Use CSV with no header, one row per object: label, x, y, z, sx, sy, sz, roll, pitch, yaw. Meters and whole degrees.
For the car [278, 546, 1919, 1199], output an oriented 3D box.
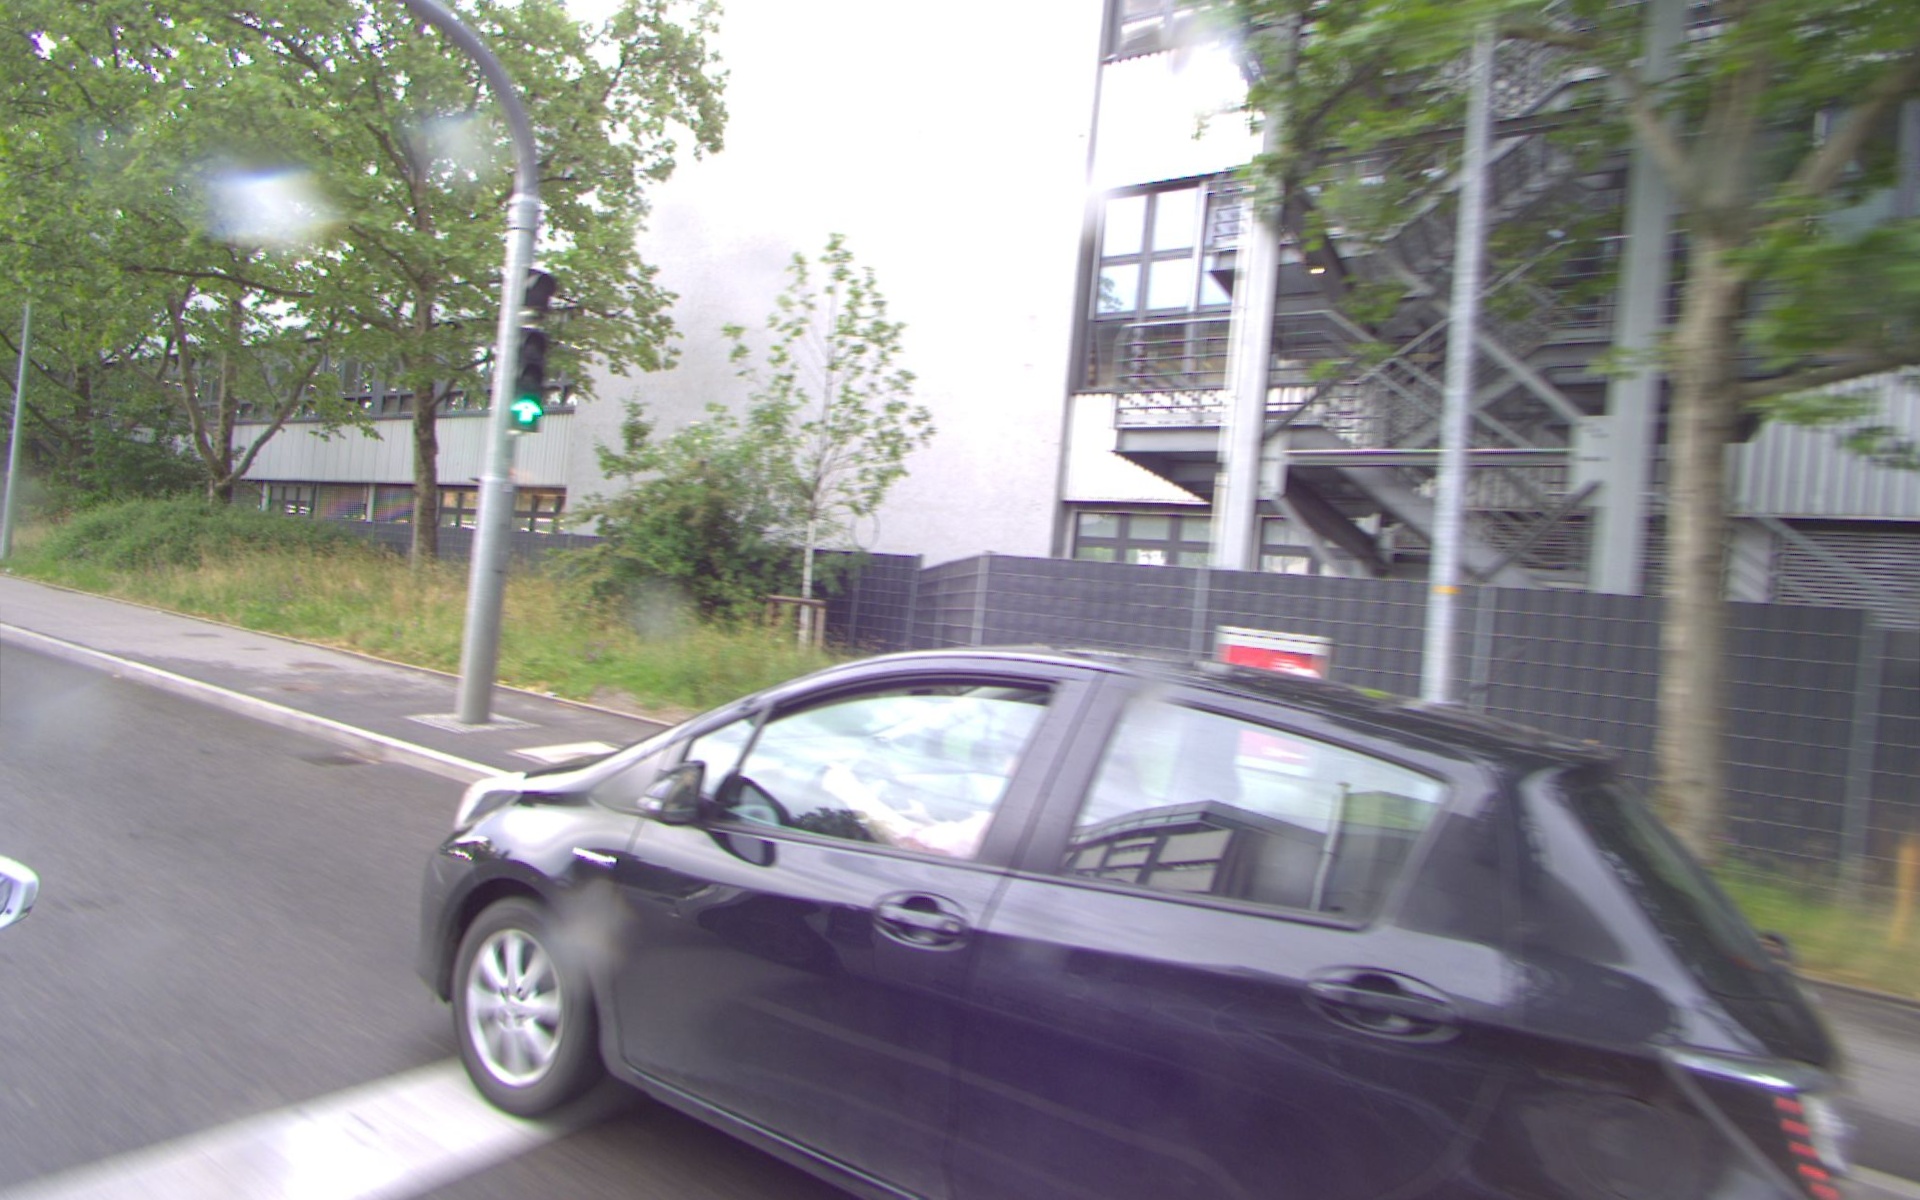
car,0.177,0.826,2.965,4.005,1.513,1.879,6,0,28
